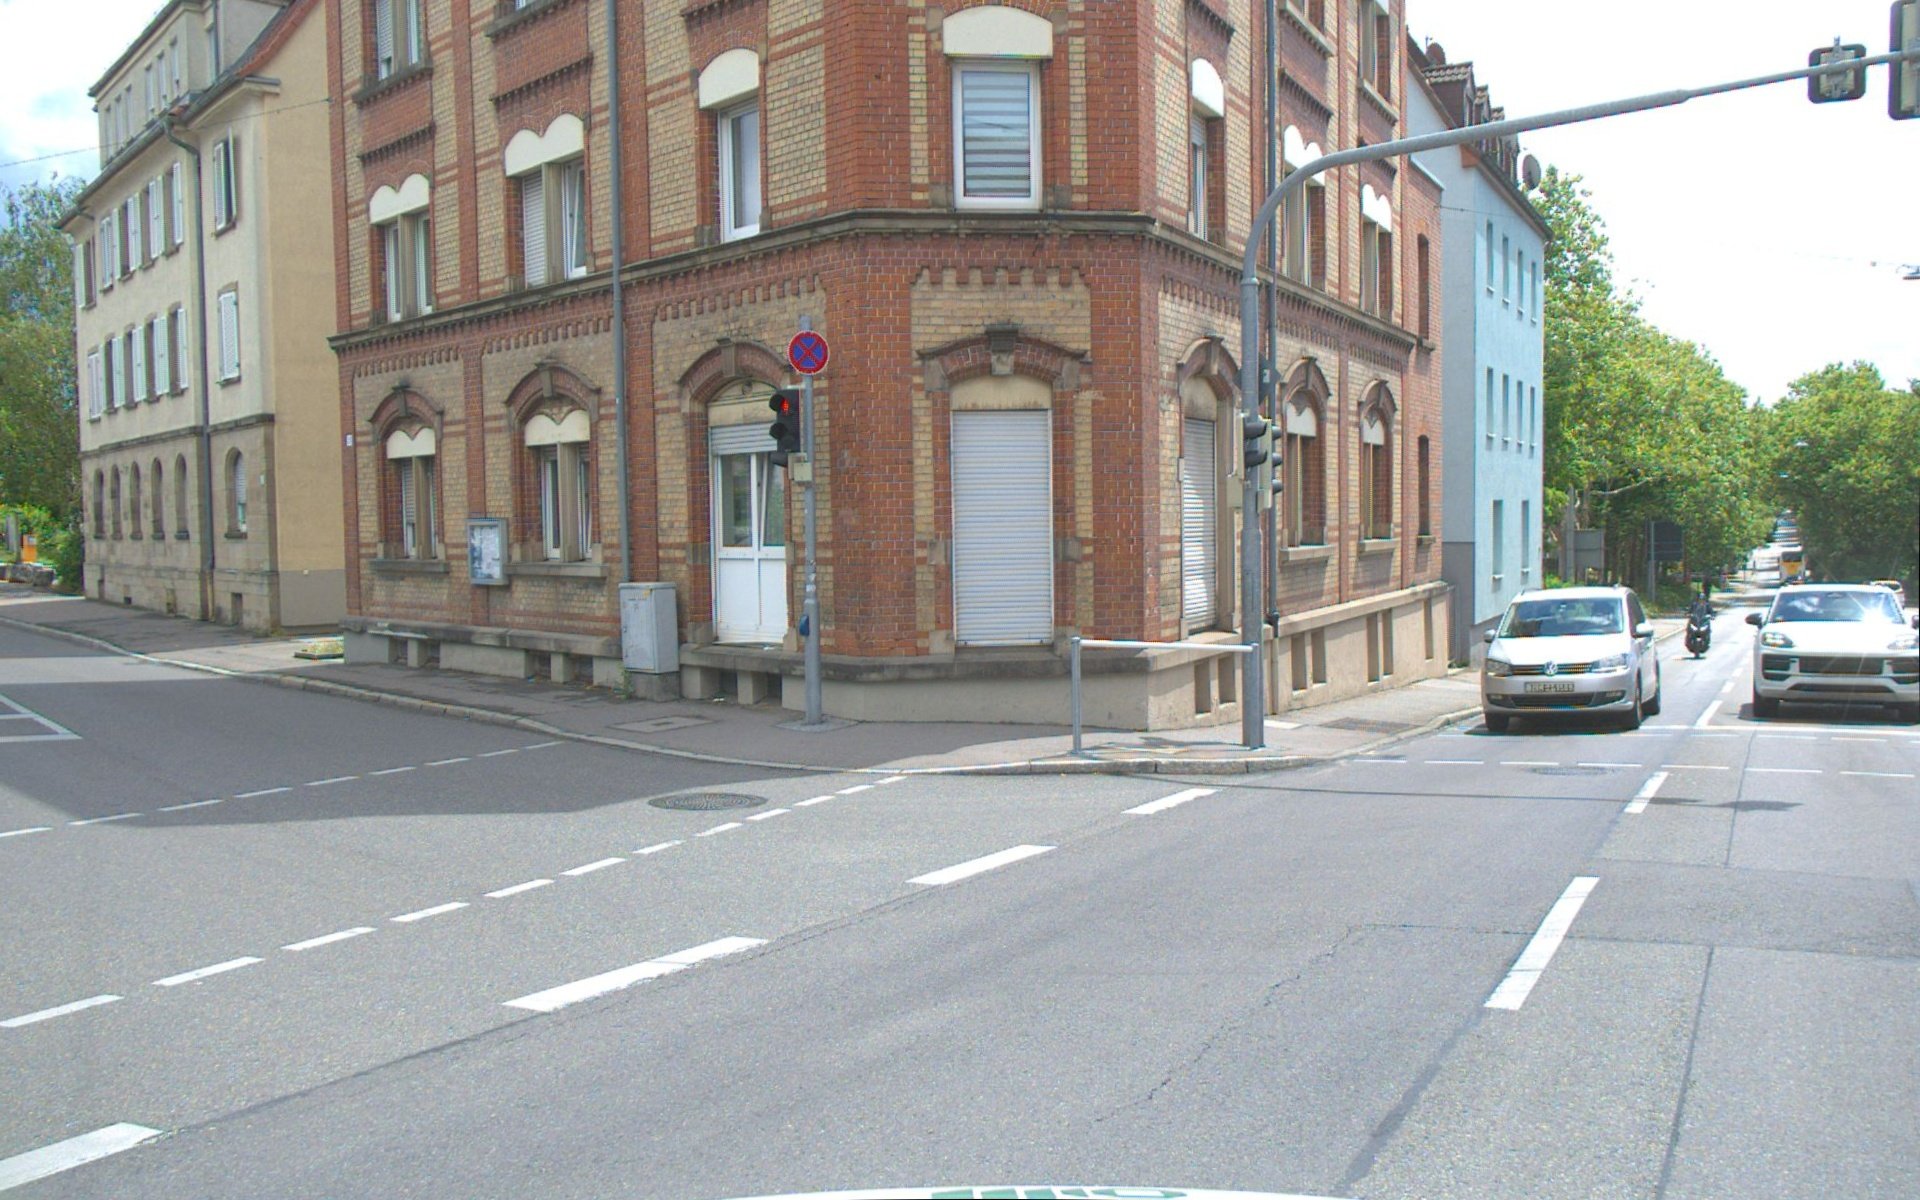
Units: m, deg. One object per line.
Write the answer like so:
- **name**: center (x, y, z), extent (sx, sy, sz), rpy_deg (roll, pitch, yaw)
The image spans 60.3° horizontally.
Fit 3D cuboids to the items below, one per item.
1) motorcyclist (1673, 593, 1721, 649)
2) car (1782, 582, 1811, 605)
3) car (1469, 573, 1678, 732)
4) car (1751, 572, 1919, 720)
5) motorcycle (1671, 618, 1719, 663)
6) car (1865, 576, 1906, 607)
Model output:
- **motorcyclist**: center (19.153, 0.539, 42.978), extent (1.057, 1.403, 1.416), rpy_deg (0, 1, 27)
- **car**: center (64.504, -0.492, 127.606), extent (1.955, 1.747, 4.607), rpy_deg (0, 0, 27)
- **car**: center (7.900, 0.603, 21.019), extent (1.954, 1.747, 4.608), rpy_deg (-4, -1, 26)
- **car**: center (11.616, 0.528, 21.959), extent (1.954, 1.747, 4.608), rpy_deg (0, 0, 26)
- **motorcycle**: center (19.161, 1.033, 43.064), extent (0.922, 1.067, 3.320), rpy_deg (0, 1, 28)
- **car**: center (52.920, -0.504, 94.566), extent (1.956, 1.747, 4.603), rpy_deg (0, 0, 30)
